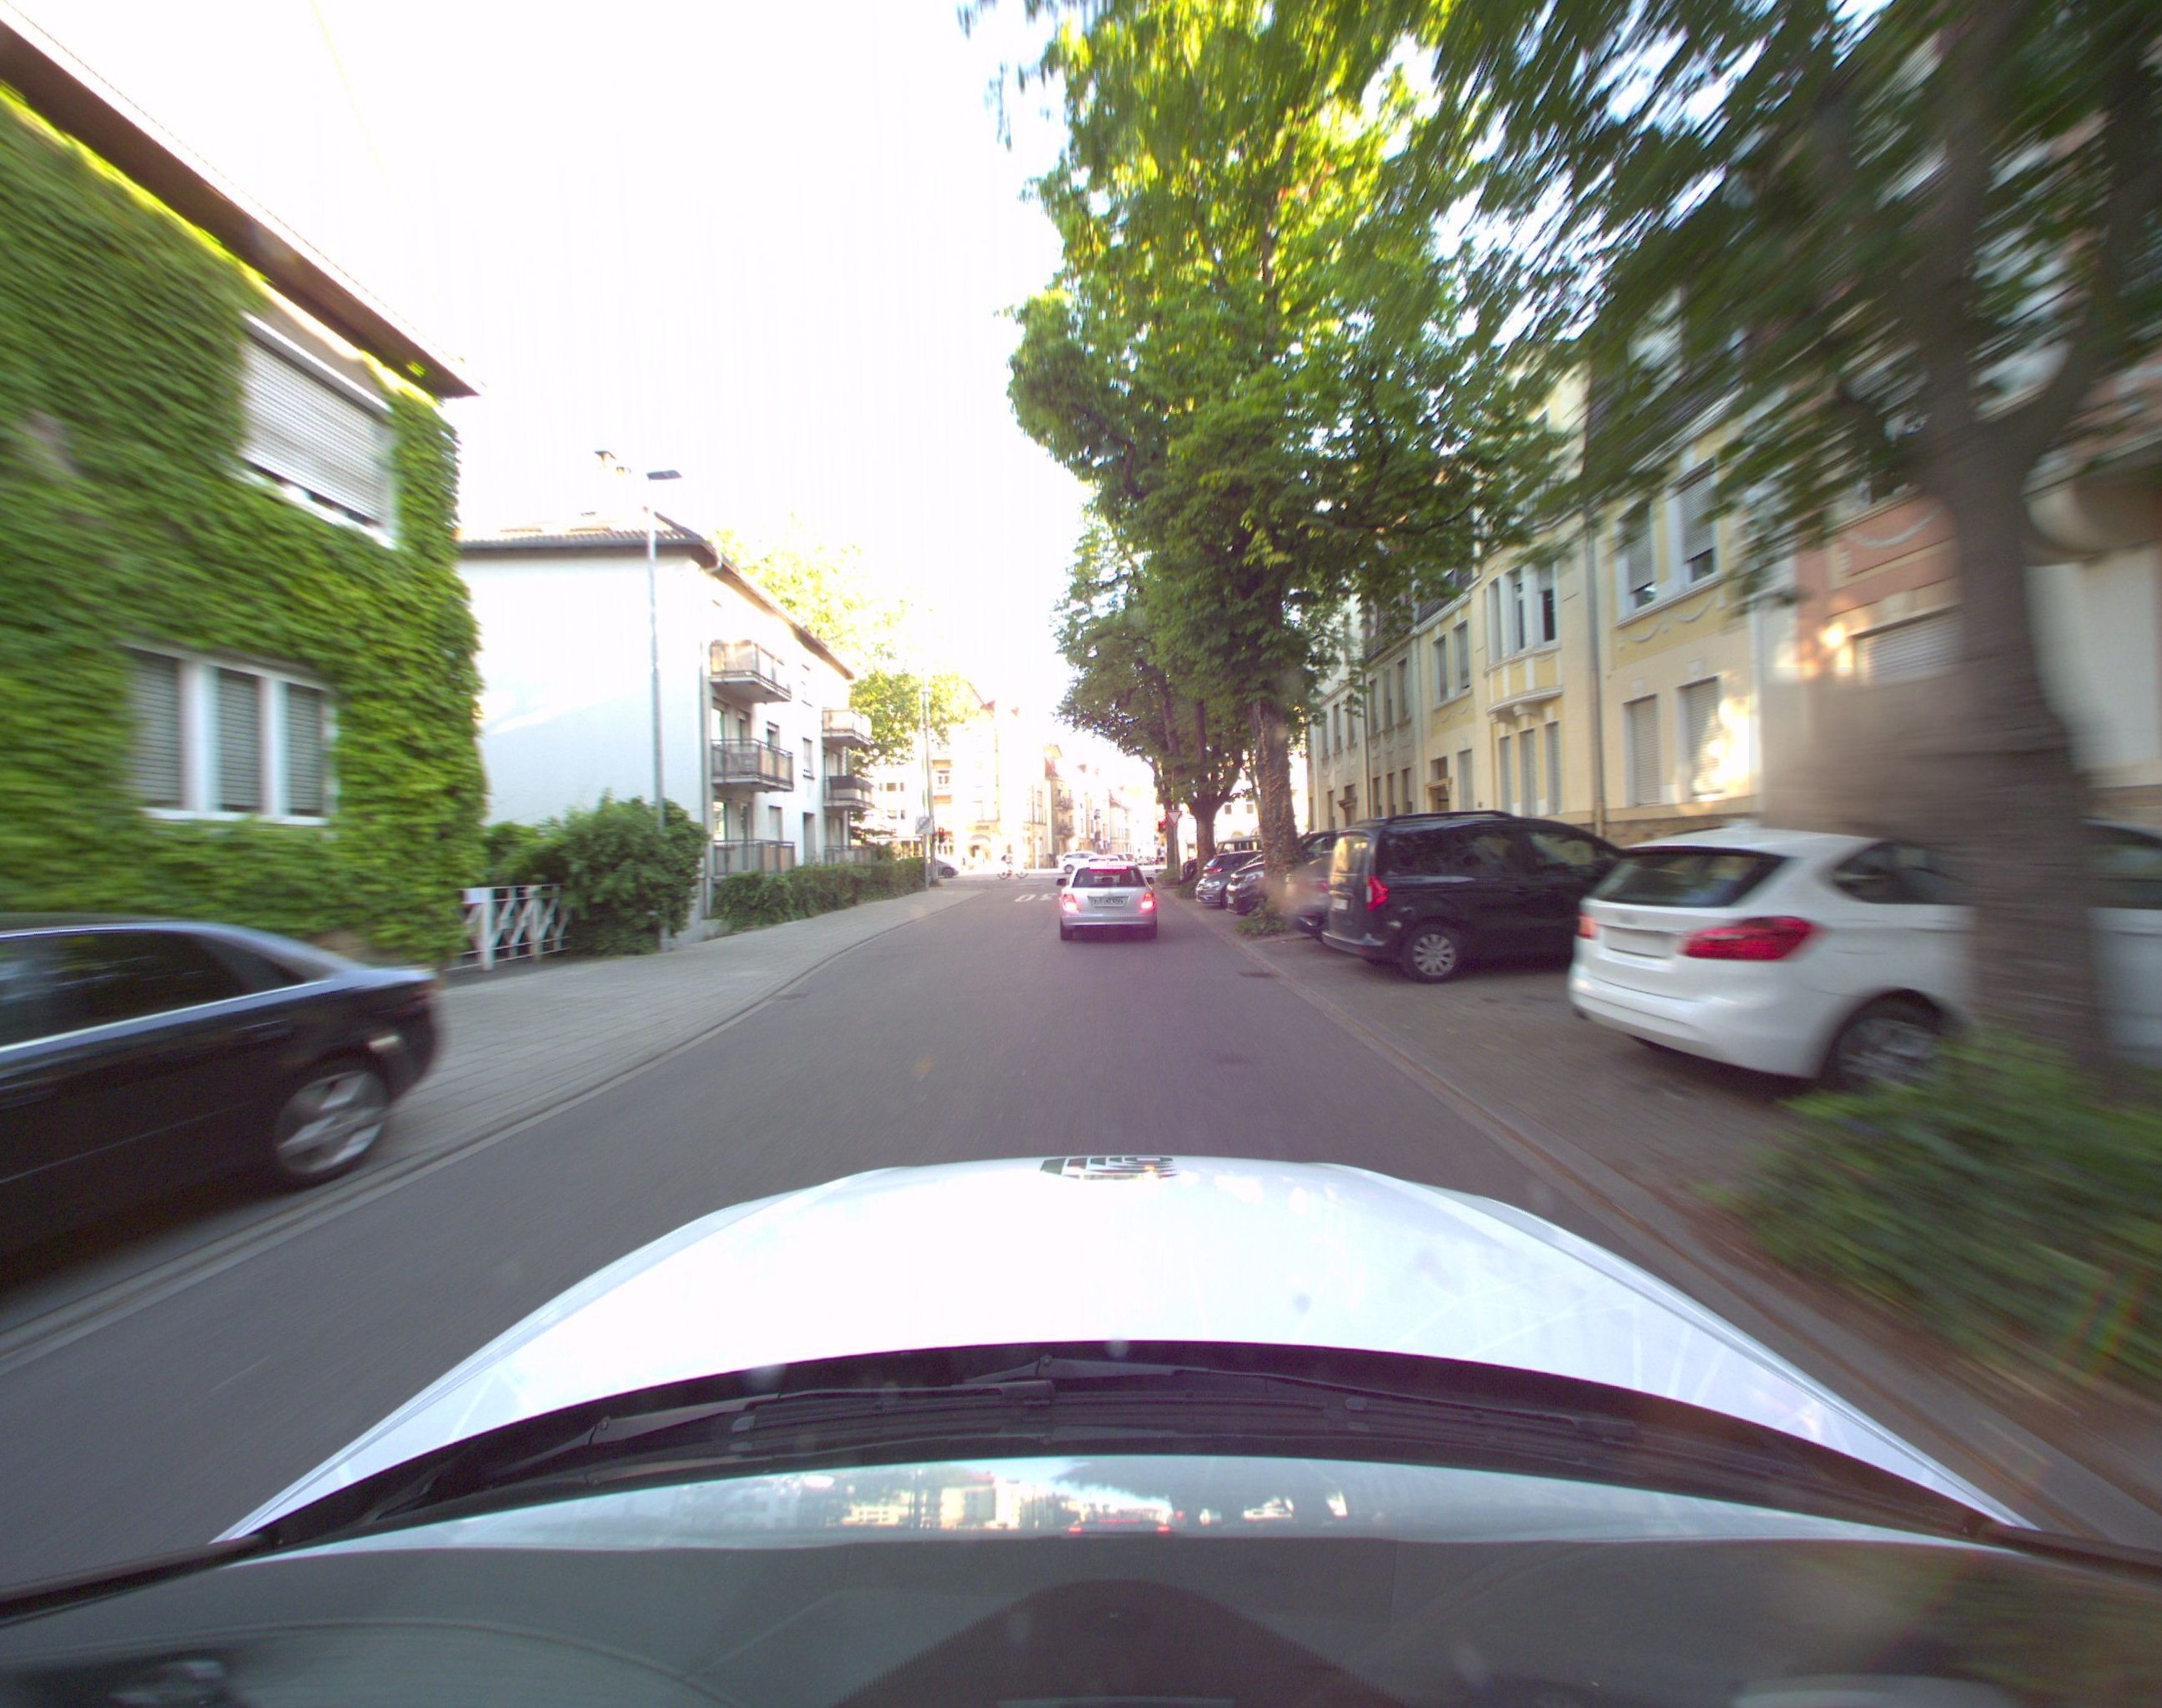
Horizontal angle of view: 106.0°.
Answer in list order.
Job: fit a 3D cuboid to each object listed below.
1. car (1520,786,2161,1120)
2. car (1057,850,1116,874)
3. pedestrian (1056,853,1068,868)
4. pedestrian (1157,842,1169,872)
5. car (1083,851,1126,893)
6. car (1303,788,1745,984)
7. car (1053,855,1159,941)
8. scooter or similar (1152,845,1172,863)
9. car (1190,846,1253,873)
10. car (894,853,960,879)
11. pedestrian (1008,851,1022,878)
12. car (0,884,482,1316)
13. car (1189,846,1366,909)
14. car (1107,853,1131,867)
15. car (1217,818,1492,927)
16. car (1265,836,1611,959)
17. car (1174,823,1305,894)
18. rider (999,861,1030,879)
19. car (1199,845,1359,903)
[{"bbox_3d":[5.309,0.459,5.057,4.095,1.571,1.877,-3,0,1],"label":"car"},{"bbox_3d":[0.351,0.523,56.827,3.884,1.515,1.704,-2,0,-7],"label":"car"},{"bbox_3d":[-2.215,0.716,93.286,1.215,1.721,1.505,-1,0,5],"label":"pedestrian"},{"bbox_3d":[5.242,0.182,51.998,0.641,1.866,0.409,-3,0,-2],"label":"pedestrian"},{"bbox_3d":[1.007,0.692,33.442,1.617,1.570,3.683,-2,0,3],"label":"car"},{"bbox_3d":[5.062,0.344,9.774,4.207,1.896,1.905,-3,0,-1],"label":"car"},{"bbox_3d":[0.511,0.763,15.755,1.777,1.437,3.853,-1,-1,2],"label":"car"},{"bbox_3d":[5.157,0.008,51.994,1.172,1.052,0.409,-3,0,-2],"label":"scooter or similar"},{"bbox_3d":[9.519,0.367,55.341,3.881,1.642,1.751,-2,0,-4],"label":"car"},{"bbox_3d":[-10.469,0.803,55.602,4.148,1.626,1.790,-2,0,-5],"label":"car"},{"bbox_3d":[-4.112,0.666,50.747,0.768,1.645,0.504,-2,0,-7],"label":"pedestrian"},{"bbox_3d":[-4.693,0.928,2.955,1.688,1.447,4.360,-1,0,2],"label":"car"},{"bbox_3d":[5.212,0.601,21.963,4.275,1.417,1.876,-3,0,-1],"label":"car"},{"bbox_3d":[4.673,0.743,100.377,1.978,1.585,4.018,-2,0,17],"label":"car"},{"bbox_3d":[5.544,0.354,17.029,5.038,1.989,2.071,-2,0,-1],"label":"car"},{"bbox_3d":[5.072,0.582,12.013,4.275,1.541,1.876,-2,0,-1],"label":"car"},{"bbox_3d":[5.728,0.153,29.826,4.375,2.364,1.999,-2,0,-1],"label":"car"},{"bbox_3d":[-4.141,0.971,50.742,1.872,1.038,0.510,-2,0,-7],"label":"rider"},{"bbox_3d":[5.789,0.571,24.213,4.275,1.541,1.898,-2,0,-1],"label":"car"}]
